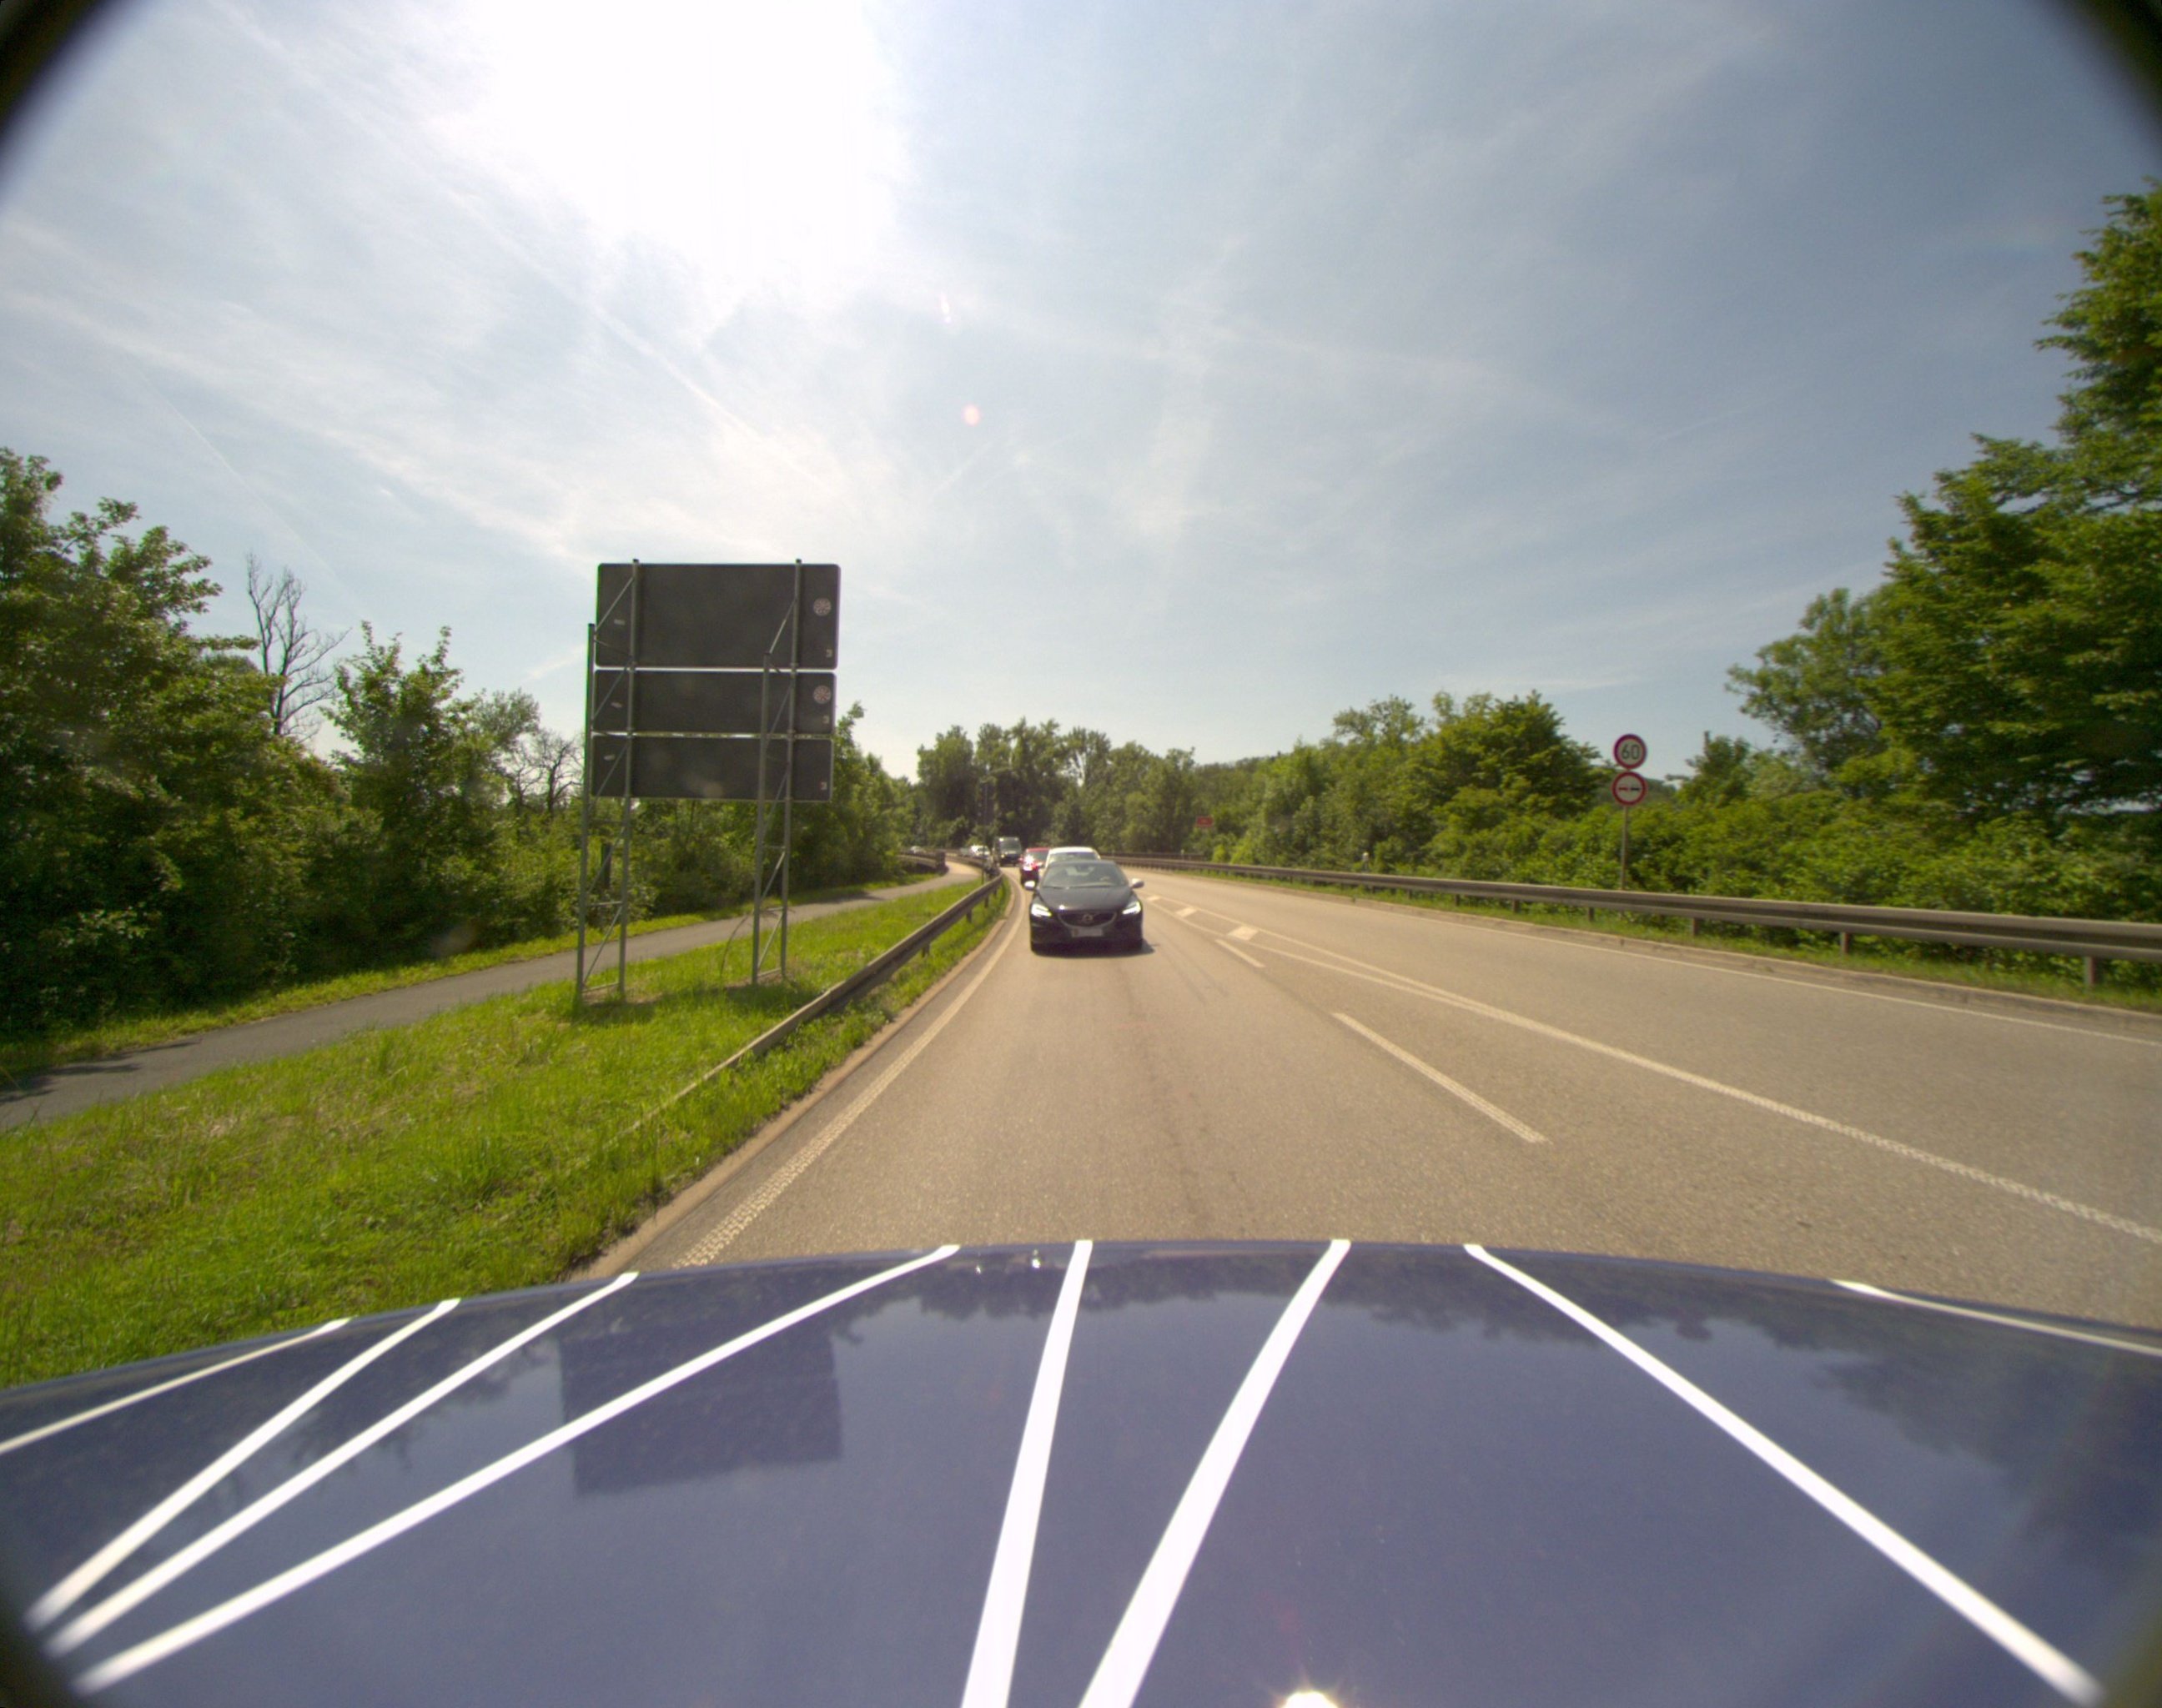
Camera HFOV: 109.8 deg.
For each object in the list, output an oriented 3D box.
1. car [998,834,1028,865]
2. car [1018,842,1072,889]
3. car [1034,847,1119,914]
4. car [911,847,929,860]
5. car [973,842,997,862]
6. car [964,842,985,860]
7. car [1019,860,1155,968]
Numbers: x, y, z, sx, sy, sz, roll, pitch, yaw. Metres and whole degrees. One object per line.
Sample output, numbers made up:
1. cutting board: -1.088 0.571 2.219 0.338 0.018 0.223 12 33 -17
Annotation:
1. car: -5.969 -0.434 66.207 2.000 2.471 4.853 -2 2 -11
2. car: -1.608 0.435 32.648 2.000 1.766 3.996 -2 2 -6
3. car: -0.230 0.657 21.202 1.910 1.638 3.947 -1 1 -6
4. car: -26.473 -0.169 125.009 2.002 2.003 3.991 -3 3 -26
5. car: -10.393 -0.281 82.146 2.001 2.003 4.706 -2 2 -13
6. car: -13.409 -0.391 95.395 2.001 2.003 3.993 -3 2 -16
7. car: 0.056 0.882 12.945 1.909 1.413 3.949 -2 1 -1
